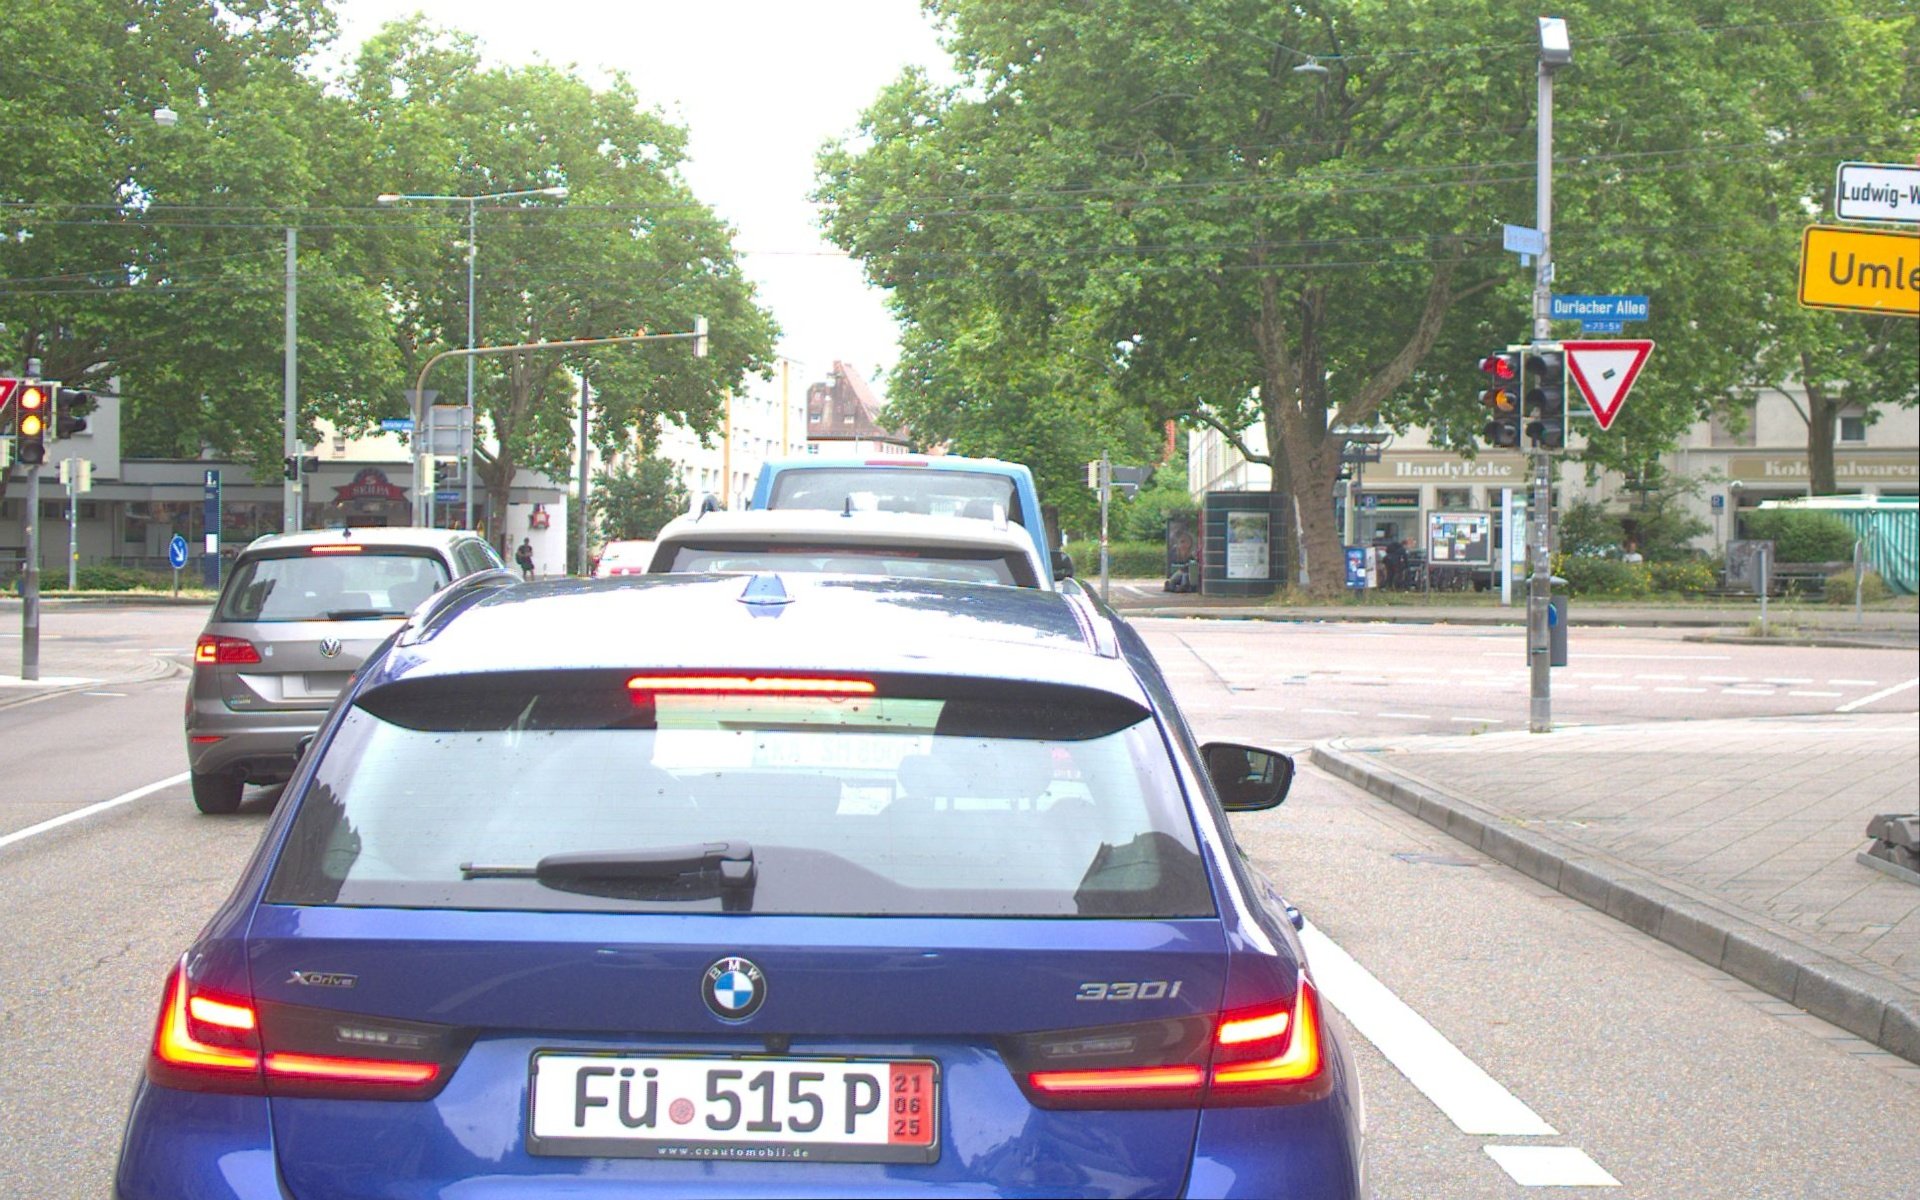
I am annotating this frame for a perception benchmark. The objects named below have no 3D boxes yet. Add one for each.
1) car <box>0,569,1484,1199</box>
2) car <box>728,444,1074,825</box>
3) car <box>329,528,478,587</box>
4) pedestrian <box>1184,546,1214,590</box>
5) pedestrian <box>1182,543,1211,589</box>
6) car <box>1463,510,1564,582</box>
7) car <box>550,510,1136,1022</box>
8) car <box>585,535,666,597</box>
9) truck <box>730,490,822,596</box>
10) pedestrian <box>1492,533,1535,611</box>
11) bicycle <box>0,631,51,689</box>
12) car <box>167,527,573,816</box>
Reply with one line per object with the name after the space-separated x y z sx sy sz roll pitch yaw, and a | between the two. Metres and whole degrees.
-0.307 0.673 6.281 1.815 1.400 4.320 0 1 -1 | car
-0.333 0.141 20.071 1.815 1.998 4.000 0 1 -1 | car
-16.930 -1.289 104.592 3.987 1.700 2.000 0 1 -34 | car
7.166 -0.976 103.049 0.853 1.310 0.763 0 1 0 | pedestrian
7.153 -1.031 103.971 0.817 1.367 0.763 0 1 0 | pedestrian
17.315 -1.690 107.394 2.177 2.193 3.995 1 1 24 | car
-0.388 0.475 12.673 1.815 1.586 4.000 0 1 -1 | car
-8.071 -0.839 83.228 1.649 1.442 3.511 0 1 -1 | car
-4.305 -1.364 80.911 2.074 2.400 5.463 0 1 -2 | truck
12.477 -0.633 77.541 0.784 1.737 0.925 0 1 -2 | pedestrian
-9.914 0.511 33.398 1.886 0.443 1.029 6 2 -2 | bicycle
-3.344 0.337 20.167 1.732 1.519 4.000 0 1 -1 | car
